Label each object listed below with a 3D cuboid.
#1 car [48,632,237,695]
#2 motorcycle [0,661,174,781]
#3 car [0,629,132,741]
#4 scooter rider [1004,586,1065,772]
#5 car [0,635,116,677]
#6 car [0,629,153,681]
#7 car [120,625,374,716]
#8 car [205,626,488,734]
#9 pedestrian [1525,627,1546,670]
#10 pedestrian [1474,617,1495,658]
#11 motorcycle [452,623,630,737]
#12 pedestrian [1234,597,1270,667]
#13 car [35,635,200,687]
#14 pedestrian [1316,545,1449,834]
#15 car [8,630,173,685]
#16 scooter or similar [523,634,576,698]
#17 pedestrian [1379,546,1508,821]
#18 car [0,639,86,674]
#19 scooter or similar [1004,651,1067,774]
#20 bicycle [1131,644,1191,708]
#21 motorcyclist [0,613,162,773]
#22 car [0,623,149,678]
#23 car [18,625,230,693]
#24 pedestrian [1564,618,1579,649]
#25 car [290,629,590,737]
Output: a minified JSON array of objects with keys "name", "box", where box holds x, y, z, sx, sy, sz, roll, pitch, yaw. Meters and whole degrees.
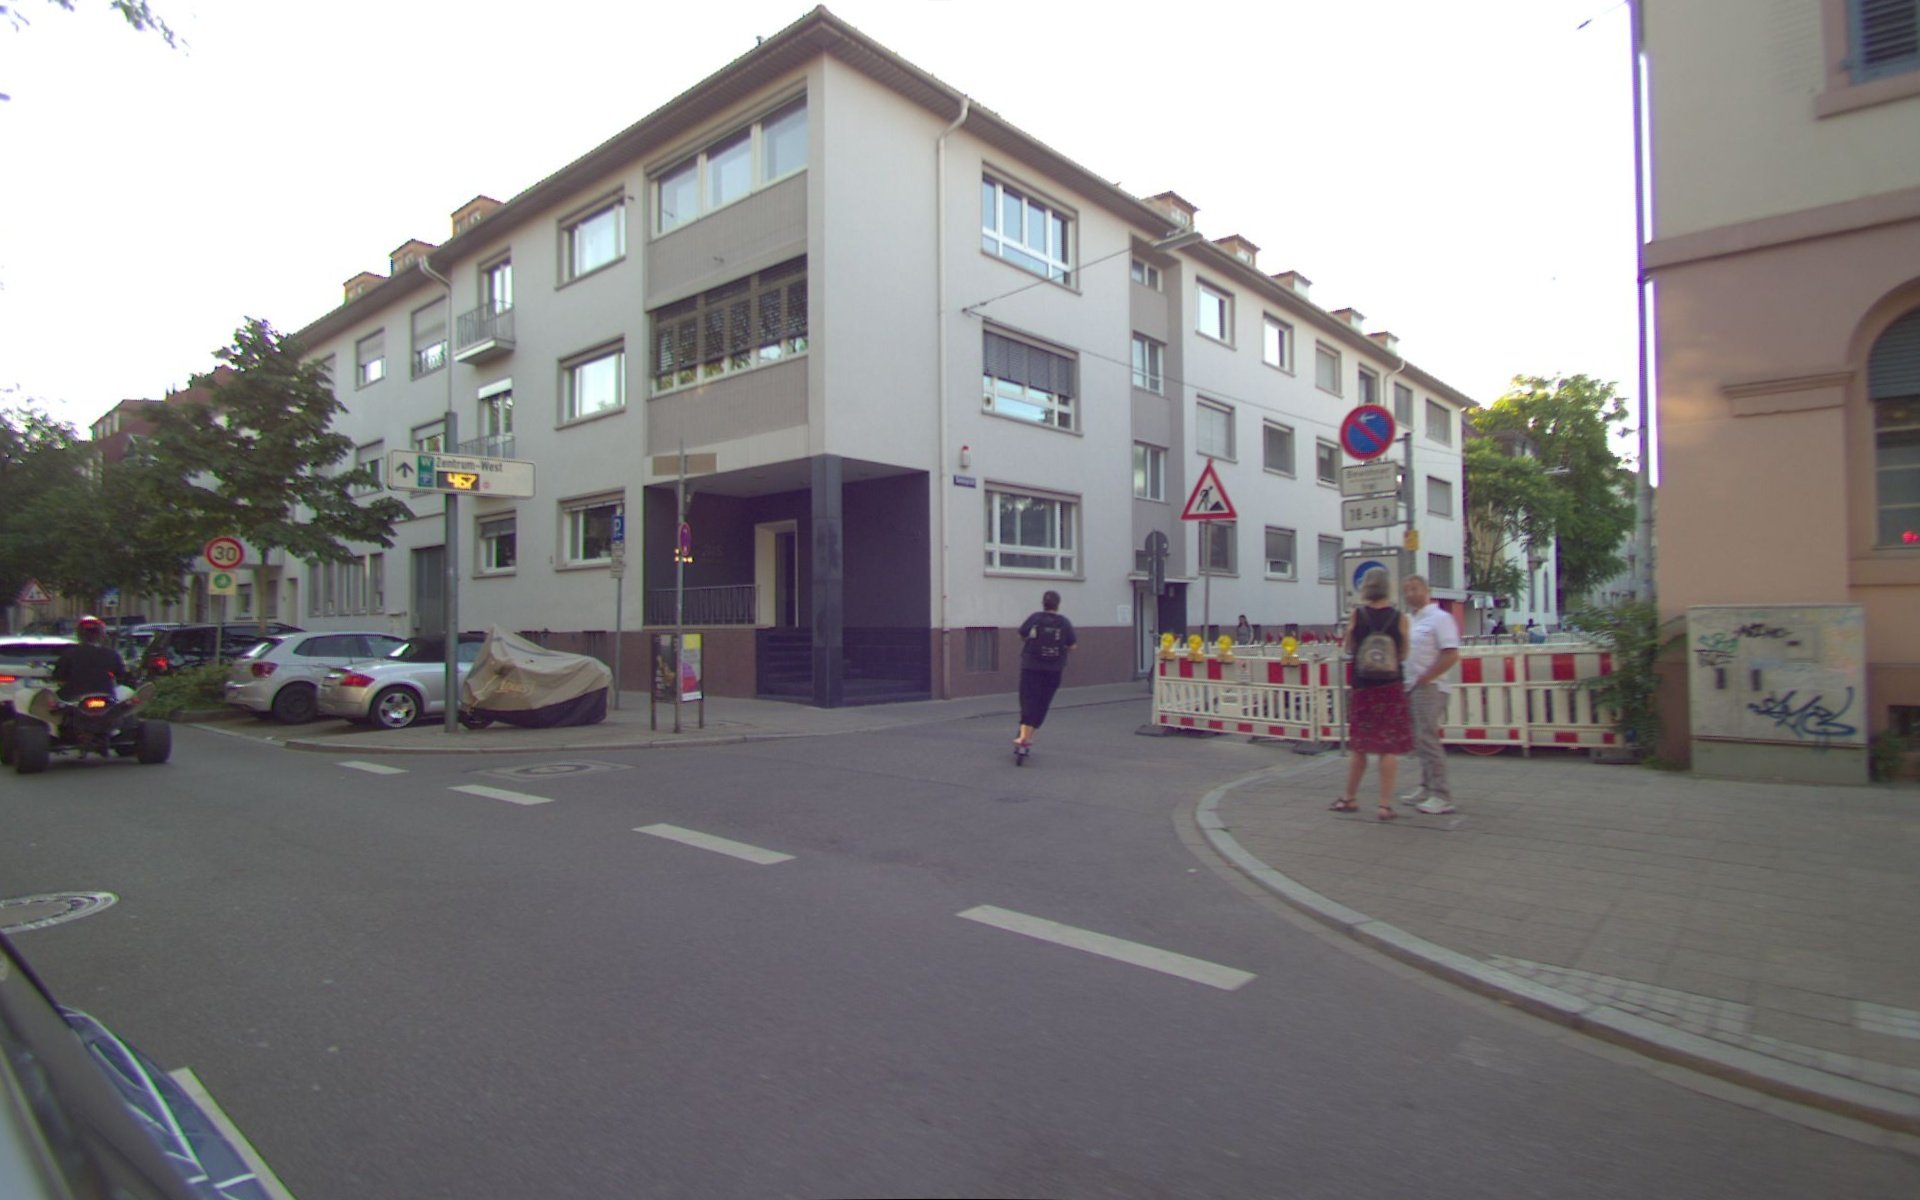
[{"name":"car","box":[-23.185,1.754,28.797,1.781,1.505,3.983,-2,-1,44]},{"name":"motorcycle","box":[-9.708,1.246,11.084,2.395,1.098,1.298,-2,-3,41]},{"name":"car","box":[-14.670,1.255,15.761,4.269,1.561,1.859,-2,-3,39]},{"name":"scooter rider","box":[0.748,0.783,10.331,0.488,1.805,0.875,0,-2,-3]},{"name":"car","box":[-39.888,2.425,44.297,1.771,1.550,4.309,-1,1,41]},{"name":"car","box":[-32.613,1.987,37.210,1.929,1.584,4.310,-2,0,41]},{"name":"car","box":[-14.908,1.398,21.309,1.935,1.644,4.049,-2,-2,42]},{"name":"car","box":[-10.194,1.249,17.016,1.734,1.469,3.704,-2,-1,40]},{"name":"pedestrian","box":[24.319,2.041,42.774,0.585,1.725,0.647,3,1,41]},{"name":"pedestrian","box":[22.559,1.617,43.536,0.585,1.725,0.647,3,1,41]},{"name":"motorcycle","box":[-5.629,1.038,13.611,2.118,1.430,0.971,1,-2,-28]},{"name":"pedestrian","box":[7.424,0.797,25.750,0.585,1.725,0.647,3,1,41]},{"name":"car","box":[-26.825,1.914,32.294,1.853,1.462,3.805,-4,-2,41]},{"name":"pedestrian","box":[2.902,0.589,6.970,0.546,1.864,0.613,1,-2,-35]},{"name":"car","box":[-30.322,1.965,35.382,1.822,1.603,4.112,-2,0,41]},{"name":"scooter or similar","box":[-8.601,1.355,21.175,0.509,1.271,1.421,0,-1,-45]},{"name":"pedestrian","box":[3.471,0.575,7.279,0.546,1.864,0.613,1,-2,-35]},{"name":"car","box":[-43.747,2.626,47.093,1.715,1.417,4.383,-1,0,37]},{"name":"scooter or similar","box":[0.751,1.110,10.335,0.496,1.153,1.250,0,-2,-3]},{"name":"bicycle","box":[4.136,1.512,20.703,0.720,1.154,2.218,-1,-1,24]},{"name":"motorcyclist","box":[-9.619,0.964,11.023,1.076,1.604,1.266,-2,-3,41]},{"name":"car","box":[-34.612,1.903,38.998,2.188,2.006,4.938,-3,-3,41]},{"name":"car","box":[-25.000,1.697,30.383,2.155,1.778,4.618,-2,-1,40]},{"name":"pedestrian","box":[35.803,1.955,59.227,0.585,1.725,0.647,3,1,41]},{"name":"car","box":[-7.907,1.182,15.625,1.843,1.321,3.702,-2,-1,40]}]
